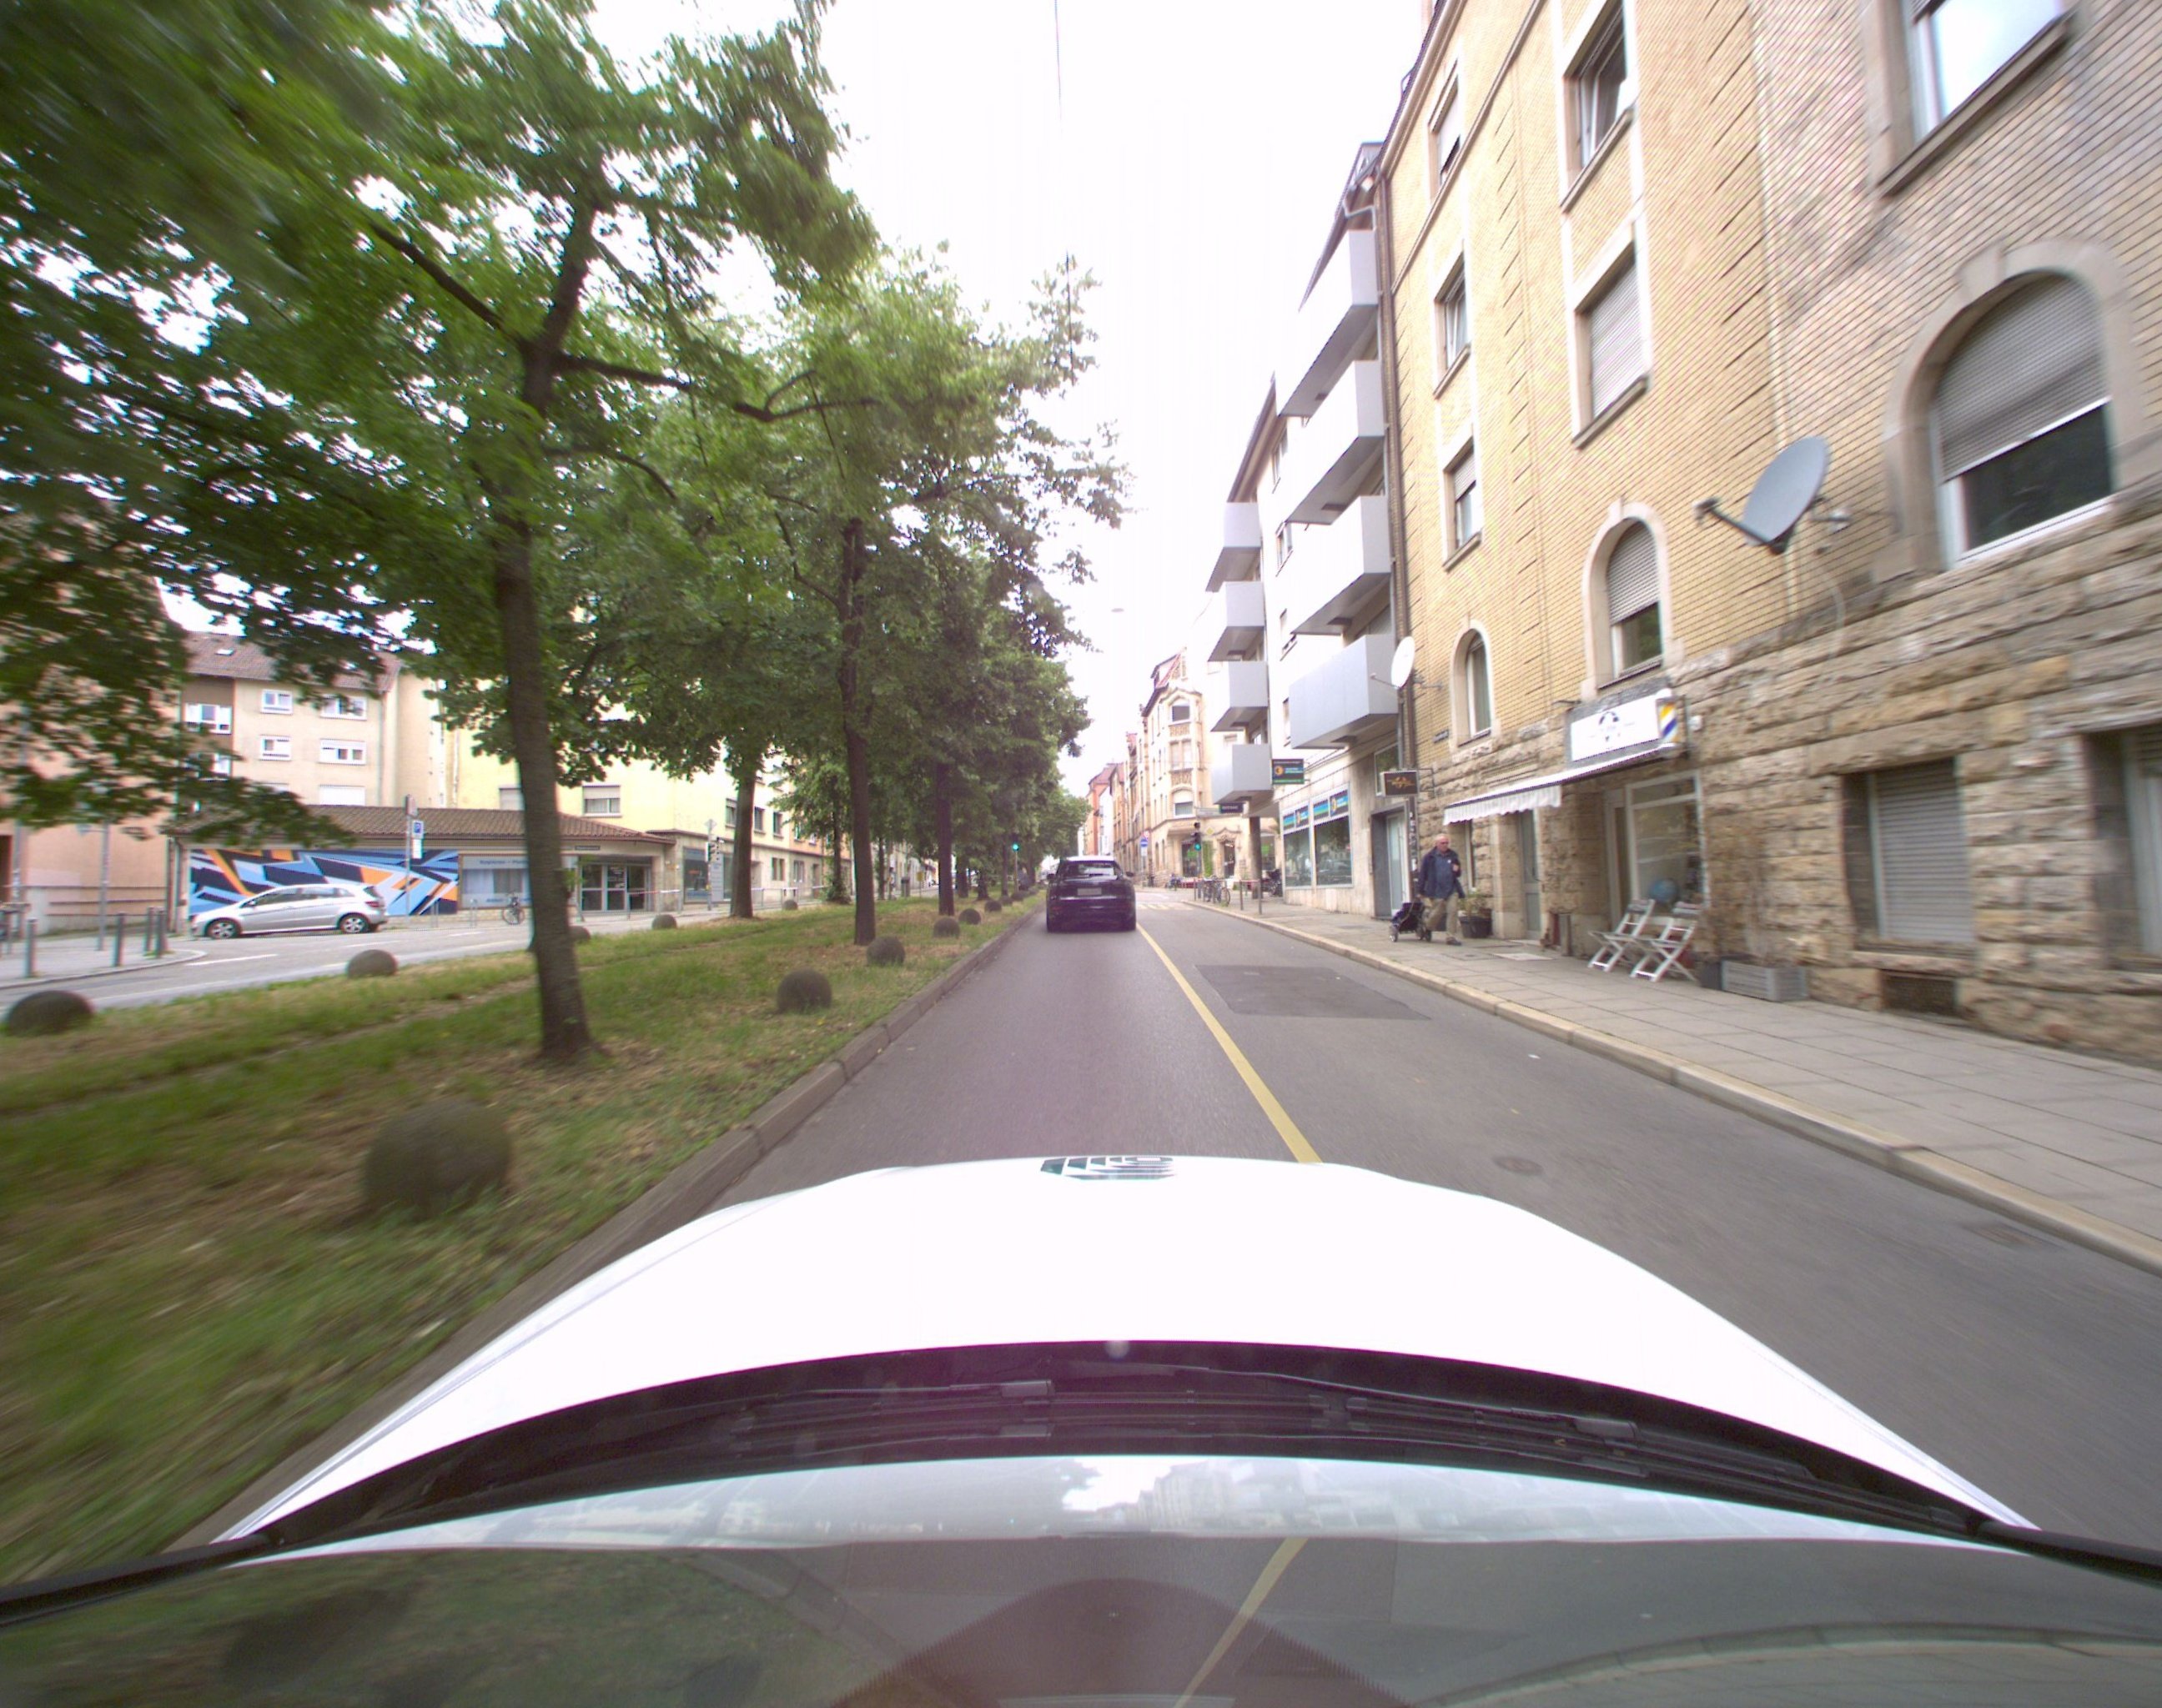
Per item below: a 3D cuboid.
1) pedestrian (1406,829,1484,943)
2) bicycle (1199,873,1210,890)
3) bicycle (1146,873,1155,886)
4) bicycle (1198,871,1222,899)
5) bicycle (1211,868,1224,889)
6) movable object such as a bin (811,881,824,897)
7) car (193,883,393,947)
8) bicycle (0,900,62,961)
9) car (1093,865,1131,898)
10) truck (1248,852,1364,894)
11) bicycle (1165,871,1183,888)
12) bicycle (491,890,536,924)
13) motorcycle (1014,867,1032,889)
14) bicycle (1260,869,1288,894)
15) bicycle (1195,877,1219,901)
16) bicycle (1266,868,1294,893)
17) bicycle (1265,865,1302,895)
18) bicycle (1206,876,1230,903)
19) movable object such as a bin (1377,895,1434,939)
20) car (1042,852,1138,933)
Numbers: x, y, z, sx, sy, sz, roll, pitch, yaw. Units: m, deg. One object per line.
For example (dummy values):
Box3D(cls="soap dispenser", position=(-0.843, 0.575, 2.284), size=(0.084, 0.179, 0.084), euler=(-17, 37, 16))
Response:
Box3D(cls="pedestrian", position=(5.740, 0.502, 12.900), size=(0.748, 1.693, 0.858), euler=(-4, -2, 1))
Box3D(cls="bicycle", position=(7.955, 1.754, 52.352), size=(0.348, 1.059, 1.833), euler=(1, -1, -1))
Box3D(cls="bicycle", position=(5.528, 2.043, 65.242), size=(0.445, 1.037, 2.246), euler=(-2, -2, -2))
Box3D(cls="bicycle", position=(5.067, 1.221, 32.050), size=(0.286, 1.054, 1.753), euler=(0, -2, -12))
Box3D(cls="bicycle", position=(8.736, 1.573, 51.994), size=(0.445, 1.161, 1.834), euler=(-2, 4, -1))
Box3D(cls="movable object such as a bin", position=(-18.214, 2.401, 56.282), size=(0.690, 1.060, 0.689), euler=(-1, -2, -5))
Box3D(cls="car", position=(-23.952, 1.809, 24.995), size=(4.057, 1.479, 1.803), euler=(-4, 0, -33))
Box3D(cls="bicycle", position=(-21.018, 1.469, 15.926), size=(2.429, 1.046, 0.873), euler=(0, -1, 27))
Box3D(cls="car", position=(1.492, 1.373, 39.498), size=(1.757, 1.466, 3.591), euler=(-1, -4, 1))
Box3D(cls="truck", position=(12.053, 1.018, 43.791), size=(5.559, 2.133, 2.373), euler=(1, -1, -10))
Box3D(cls="bicycle", position=(6.162, 1.691, 54.074), size=(0.876, 1.129, 2.978), euler=(-1, -2, 0))
Box3D(cls="bicycle", position=(-19.307, 1.782, 27.753), size=(0.765, 1.085, 2.022), euler=(0, -2, -21))
Box3D(cls="motorcycle", position=(-3.888, 1.616, 54.935), size=(1.016, 1.446, 2.246), euler=(-3, -2, 0))
Box3D(cls="bicycle", position=(8.320, 1.175, 35.207), size=(0.319, 1.043, 1.750), euler=(0, -2, -17))
Box3D(cls="bicycle", position=(4.885, 1.357, 31.727), size=(0.286, 0.931, 1.753), euler=(0, -2, -12))
Box3D(cls="bicycle", position=(8.626, 1.158, 35.314), size=(0.319, 1.043, 1.750), euler=(0, -2, -17))
Box3D(cls="bicycle", position=(8.396, 1.088, 33.870), size=(0.320, 1.199, 1.743), euler=(0, -2, -32))
Box3D(cls="bicycle", position=(4.927, 1.251, 29.308), size=(0.567, 0.931, 1.774), euler=(-1, -2, 0))
Box3D(cls="movable object such as a bin", position=(5.459, 1.051, 13.743), size=(0.605, 0.668, 0.859), euler=(-4, -2, 1))
Box3D(cls="car", position=(0.220, 0.829, 19.100), size=(1.987, 1.665, 4.000), euler=(-1, -1, 1))
